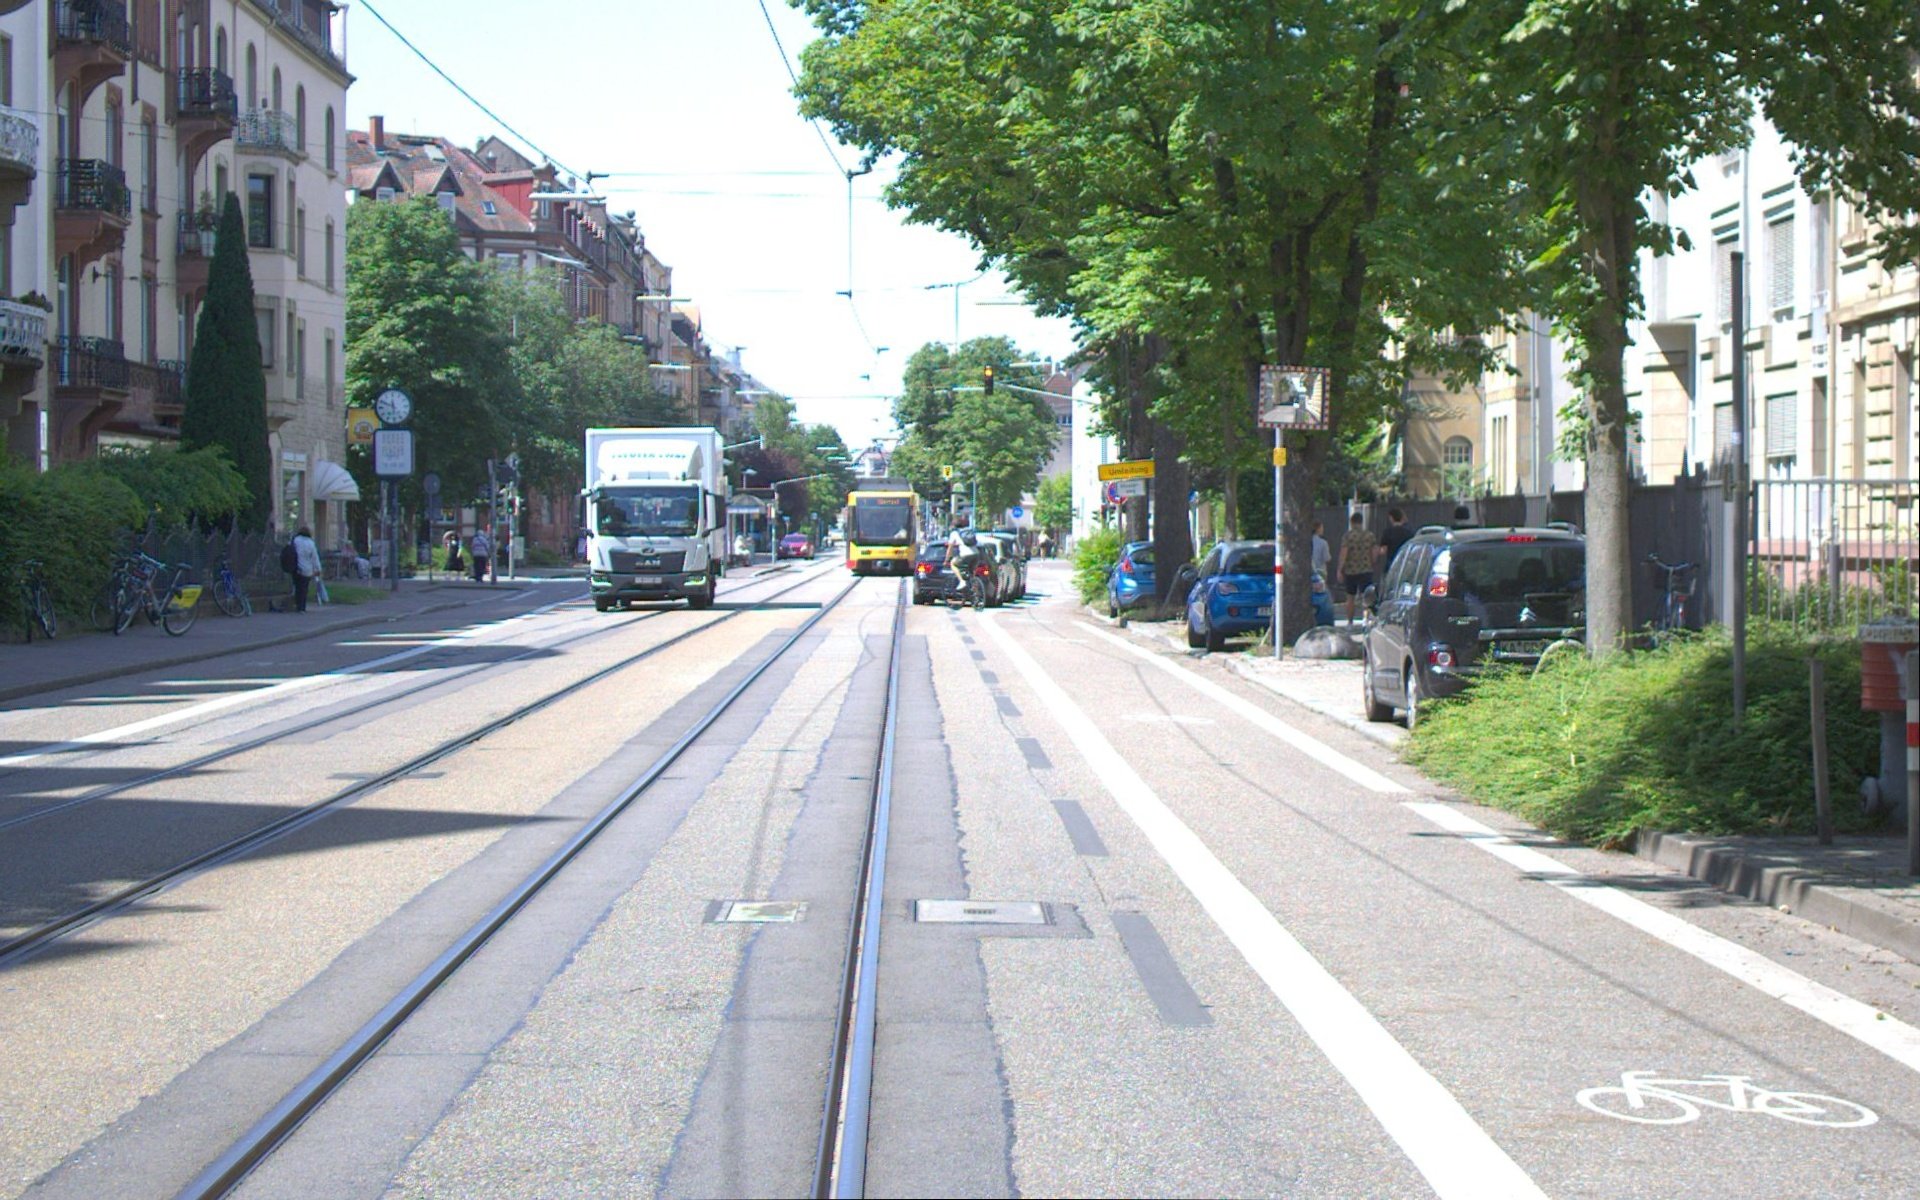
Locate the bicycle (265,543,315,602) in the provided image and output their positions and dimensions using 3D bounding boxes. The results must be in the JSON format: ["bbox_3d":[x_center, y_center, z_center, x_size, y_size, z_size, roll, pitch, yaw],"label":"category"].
[{"bbox_3d":[-11.842,-0.494,60.794,0.543,0.966,1.781,2,2,-1],"label":"bicycle"}]

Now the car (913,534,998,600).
[{"bbox_3d":[-0.113,-0.723,73.275,1.781,1.341,3.416,0,1,-1],"label":"car"}]

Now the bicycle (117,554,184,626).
[{"bbox_3d":[-11.685,-0.157,49.643,0.543,0.966,1.781,2,2,-1],"label":"bicycle"}]

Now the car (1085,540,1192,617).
[{"bbox_3d":[3.379,-0.424,65.647,1.710,1.418,4.310,0,1,-2],"label":"car"}]

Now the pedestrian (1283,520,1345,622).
[{"bbox_3d":[5.330,-0.427,51.769,0.809,1.525,0.623,0,0,17],"label":"pedestrian"}]

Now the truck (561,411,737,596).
[{"bbox_3d":[-6.233,-1.971,70.131,2.939,3.538,8.453,0,2,-1],"label":"truck"}]

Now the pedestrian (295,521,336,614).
[{"bbox_3d":[-11.255,-0.568,60.045,0.572,1.610,0.817,0,1,0],"label":"pedestrian"}]

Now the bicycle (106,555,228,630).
[{"bbox_3d":[-10.773,-0.096,46.760,0.544,0.966,1.778,2,0,29],"label":"bicycle"}]

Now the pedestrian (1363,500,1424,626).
[{"bbox_3d":[6.422,-0.543,50.935,0.808,1.853,0.576,0,0,-3],"label":"pedestrian"}]

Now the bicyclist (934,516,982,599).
[{"bbox_3d":[-0.041,-0.835,67.888,0.622,1.610,0.865,2,-1,-24],"label":"bicyclist"}]

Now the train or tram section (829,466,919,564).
[{"bbox_3d":[-3.071,-3.102,126.017,3.035,3.426,11.971,0,1,0],"label":"train or tram section"}]

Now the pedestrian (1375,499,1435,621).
[{"bbox_3d":[6.787,-0.605,52.424,0.808,1.853,0.624,0,0,-3],"label":"pedestrian"}]

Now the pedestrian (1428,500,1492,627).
[{"bbox_3d":[7.359,-0.539,50.612,0.808,1.853,0.624,0,0,-3],"label":"pedestrian"}]

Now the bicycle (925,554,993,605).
[{"bbox_3d":[-0.027,-0.410,67.853,0.638,0.966,1.781,2,0,-24],"label":"bicycle"}]

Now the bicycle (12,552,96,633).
[{"bbox_3d":[-11.620,-0.109,44.140,0.543,0.966,1.990,2,2,0],"label":"bicycle"}]

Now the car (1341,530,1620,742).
[{"bbox_3d":[4.187,0.245,28.162,1.592,1.611,3.908,0,1,-2],"label":"car"}]

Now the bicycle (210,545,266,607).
[{"bbox_3d":[-11.839,-0.402,56.396,0.543,0.966,1.781,2,1,-1],"label":"bicycle"}]

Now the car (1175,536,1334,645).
[{"bbox_3d":[4.008,-0.159,47.359,1.710,1.418,4.310,0,1,-2],"label":"car"}]
